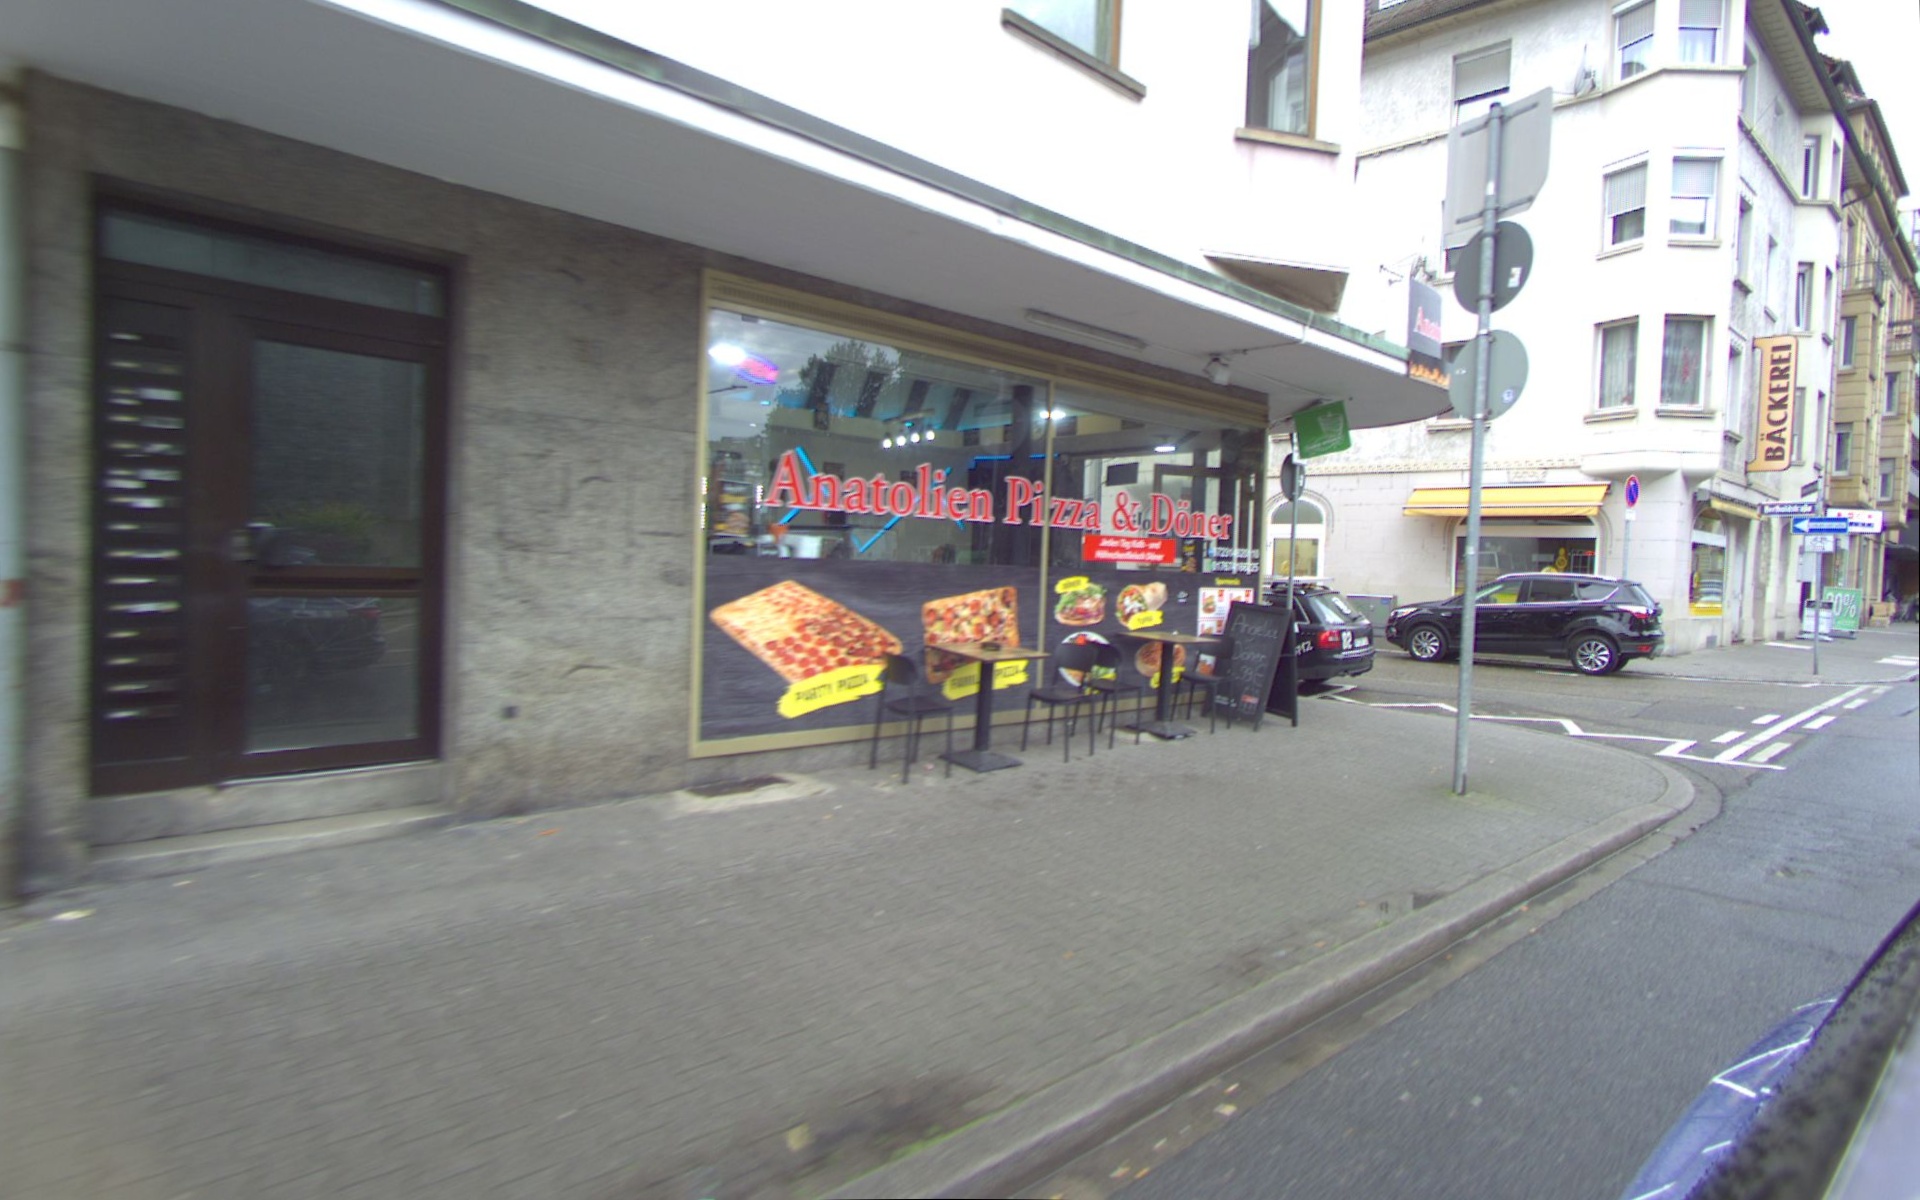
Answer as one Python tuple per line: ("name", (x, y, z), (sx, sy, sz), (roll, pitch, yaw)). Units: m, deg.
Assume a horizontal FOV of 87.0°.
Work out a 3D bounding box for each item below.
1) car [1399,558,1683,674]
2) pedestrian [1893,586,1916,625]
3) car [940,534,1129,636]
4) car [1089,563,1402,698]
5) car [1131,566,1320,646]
("car", (10.389, 0.203, 18.255), (4.135, 1.794, 1.845), (3, 2, 41))
("pedestrian", (39.831, 0.228, 42.674), (0.559, 1.592, 0.620), (2, 2, 32))
("car", (1.866, -0.450, 26.445), (4.720, 2.434, 1.985), (2, 2, 43))
("car", (4.101, 0.316, 14.966), (4.107, 1.626, 1.779), (3, 4, 43))
("car", (5.879, 0.068, 22.613), (3.684, 1.509, 1.753), (4, 4, 43))
